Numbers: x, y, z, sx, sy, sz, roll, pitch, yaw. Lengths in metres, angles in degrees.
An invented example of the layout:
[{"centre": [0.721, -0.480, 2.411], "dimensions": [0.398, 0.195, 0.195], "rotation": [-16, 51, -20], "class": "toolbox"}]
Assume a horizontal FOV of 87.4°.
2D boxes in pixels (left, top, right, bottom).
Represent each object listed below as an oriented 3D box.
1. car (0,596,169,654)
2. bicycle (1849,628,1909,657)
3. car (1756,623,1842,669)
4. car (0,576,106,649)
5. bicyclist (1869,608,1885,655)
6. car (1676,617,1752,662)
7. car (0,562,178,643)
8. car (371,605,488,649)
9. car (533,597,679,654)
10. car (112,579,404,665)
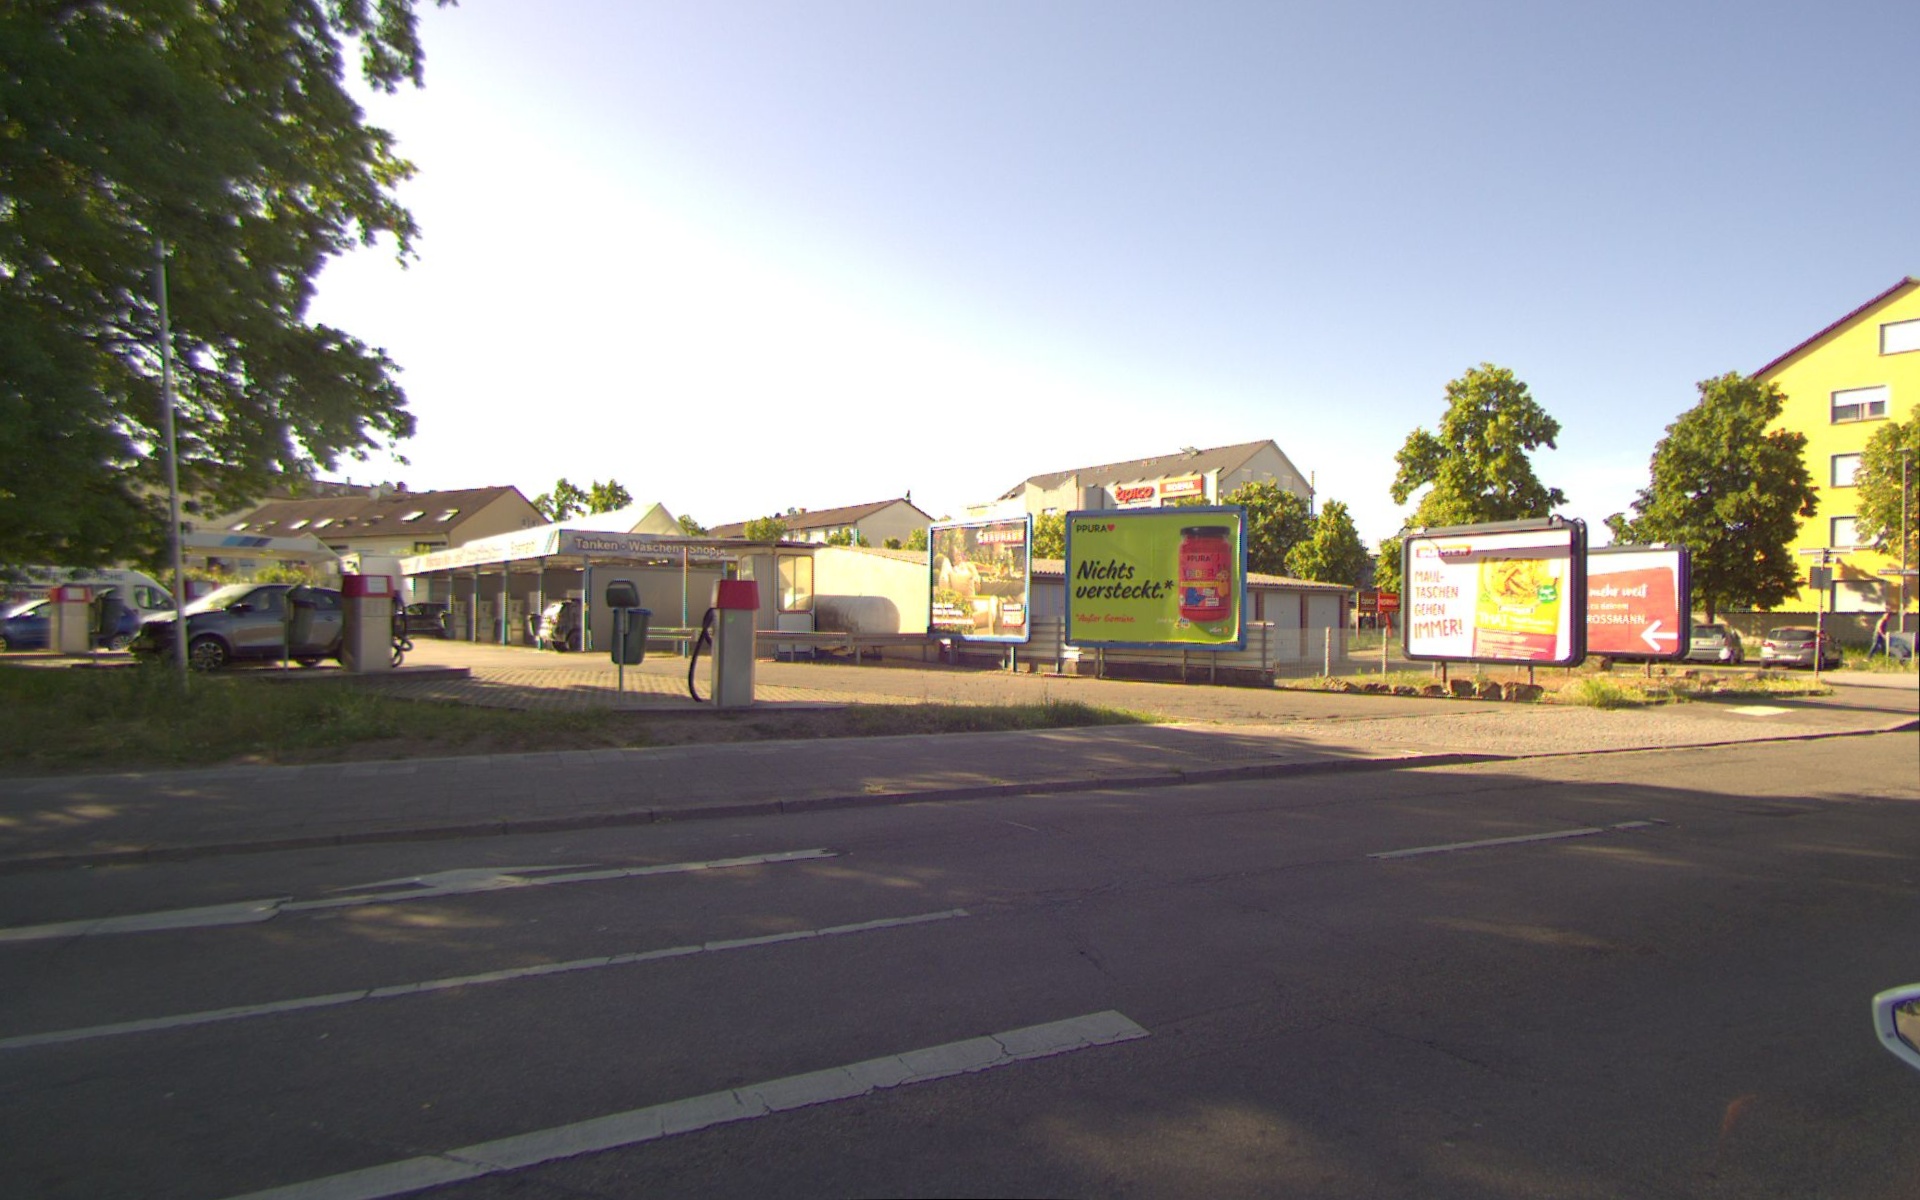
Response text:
[{"centre": [-22.701, 0.639, 25.256], "dimensions": [1.766, 1.352, 3.995], "rotation": [1, -3, 28], "class": "car"}, {"centre": [33.917, 1.561, 37.090], "dimensions": [1.594, 1.024, 0.405], "rotation": [1, -2, 33], "class": "bicycle"}, {"centre": [30.014, 1.597, 35.900], "dimensions": [3.849, 1.483, 1.715], "rotation": [0, -1, -40], "class": "car"}, {"centre": [-21.324, 0.238, 21.829], "dimensions": [1.510, 1.531, 3.980], "rotation": [0, -3, 41], "class": "car"}, {"centre": [33.891, 1.175, 37.132], "dimensions": [0.383, 1.708, 0.381], "rotation": [1, -2, 32], "class": "bicyclist"}, {"centre": [29.122, 1.513, 38.763], "dimensions": [3.853, 1.643, 1.682], "rotation": [2, -1, -42], "class": "car"}, {"centre": [-26.303, 0.089, 29.118], "dimensions": [5.609, 2.126, 1.977], "rotation": [4, -3, -40], "class": "car"}, {"centre": [-22.275, 1.148, 42.251], "dimensions": [4.050, 1.694, 1.568], "rotation": [4, -3, -40], "class": "car"}, {"centre": [-11.345, 0.841, 32.311], "dimensions": [3.968, 1.628, 1.977], "rotation": [4, -3, -40], "class": "car"}, {"centre": [-12.651, 0.453, 18.400], "dimensions": [1.727, 1.394, 3.996], "rotation": [1, -3, 28], "class": "car"}]
